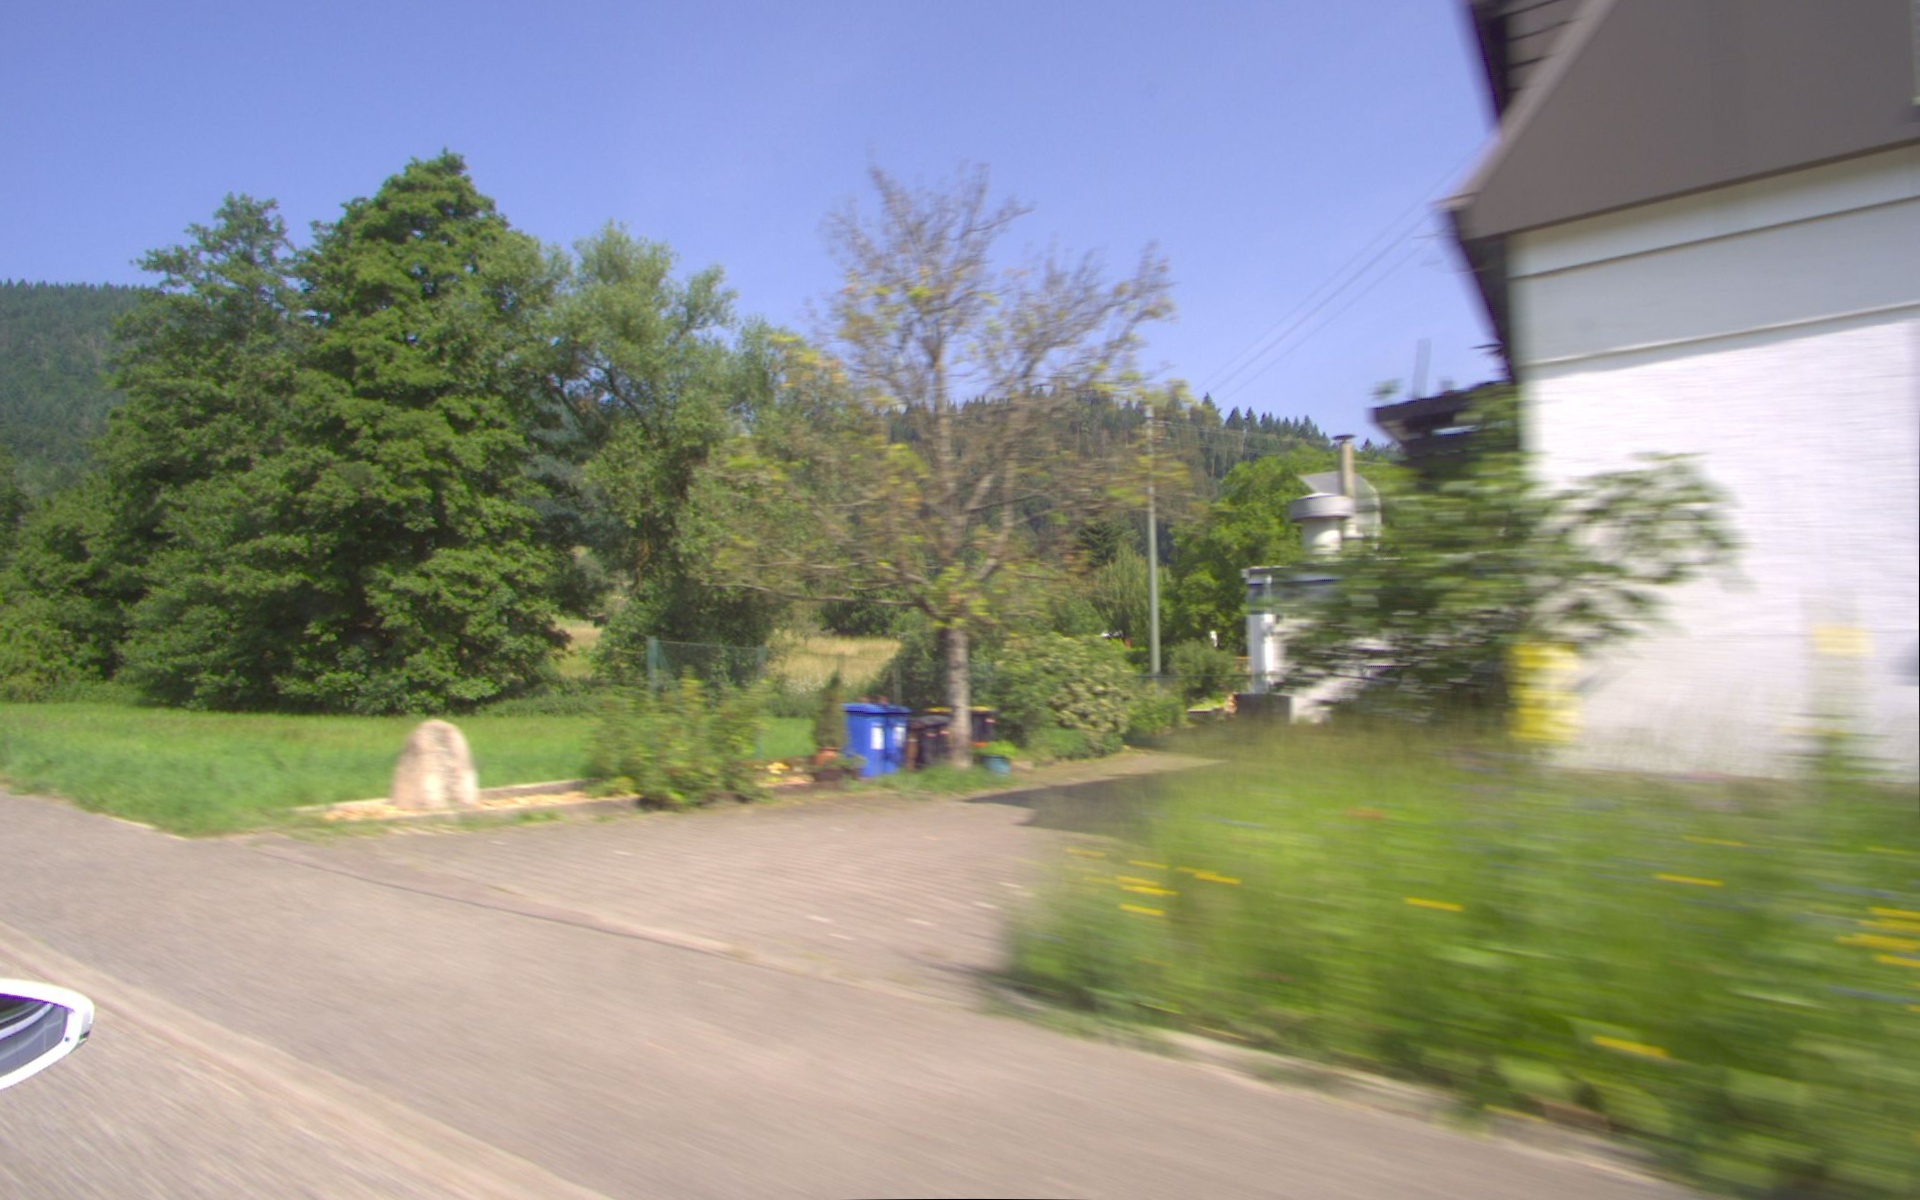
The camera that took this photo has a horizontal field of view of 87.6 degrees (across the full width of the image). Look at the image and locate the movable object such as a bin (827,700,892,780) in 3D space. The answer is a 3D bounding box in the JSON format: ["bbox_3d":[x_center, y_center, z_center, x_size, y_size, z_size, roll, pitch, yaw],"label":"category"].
[{"bbox_3d":[-1.487,2.056,14.853,0.780,1.132,0.569,-1,-4,22],"label":"movable object such as a bin"}]

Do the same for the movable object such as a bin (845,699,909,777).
[{"bbox_3d":[-1.274,2.104,15.404,0.785,1.132,0.569,-1,-4,22],"label":"movable object such as a bin"}]

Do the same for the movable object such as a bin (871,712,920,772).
[{"bbox_3d":[-1.028,2.272,16.061,0.576,0.910,0.569,-1,-4,22],"label":"movable object such as a bin"}]

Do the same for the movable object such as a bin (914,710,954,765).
[{"bbox_3d":[-0.452,2.395,17.468,0.576,0.910,0.419,-1,-4,22],"label":"movable object such as a bin"}]

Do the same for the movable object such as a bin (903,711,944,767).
[{"bbox_3d":[-0.618,2.360,17.070,0.576,0.910,0.419,-1,-4,22],"label":"movable object such as a bin"}]

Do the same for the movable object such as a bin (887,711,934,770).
[{"bbox_3d":[-0.815,2.320,16.609,0.576,0.910,0.569,-1,-4,22],"label":"movable object such as a bin"}]
